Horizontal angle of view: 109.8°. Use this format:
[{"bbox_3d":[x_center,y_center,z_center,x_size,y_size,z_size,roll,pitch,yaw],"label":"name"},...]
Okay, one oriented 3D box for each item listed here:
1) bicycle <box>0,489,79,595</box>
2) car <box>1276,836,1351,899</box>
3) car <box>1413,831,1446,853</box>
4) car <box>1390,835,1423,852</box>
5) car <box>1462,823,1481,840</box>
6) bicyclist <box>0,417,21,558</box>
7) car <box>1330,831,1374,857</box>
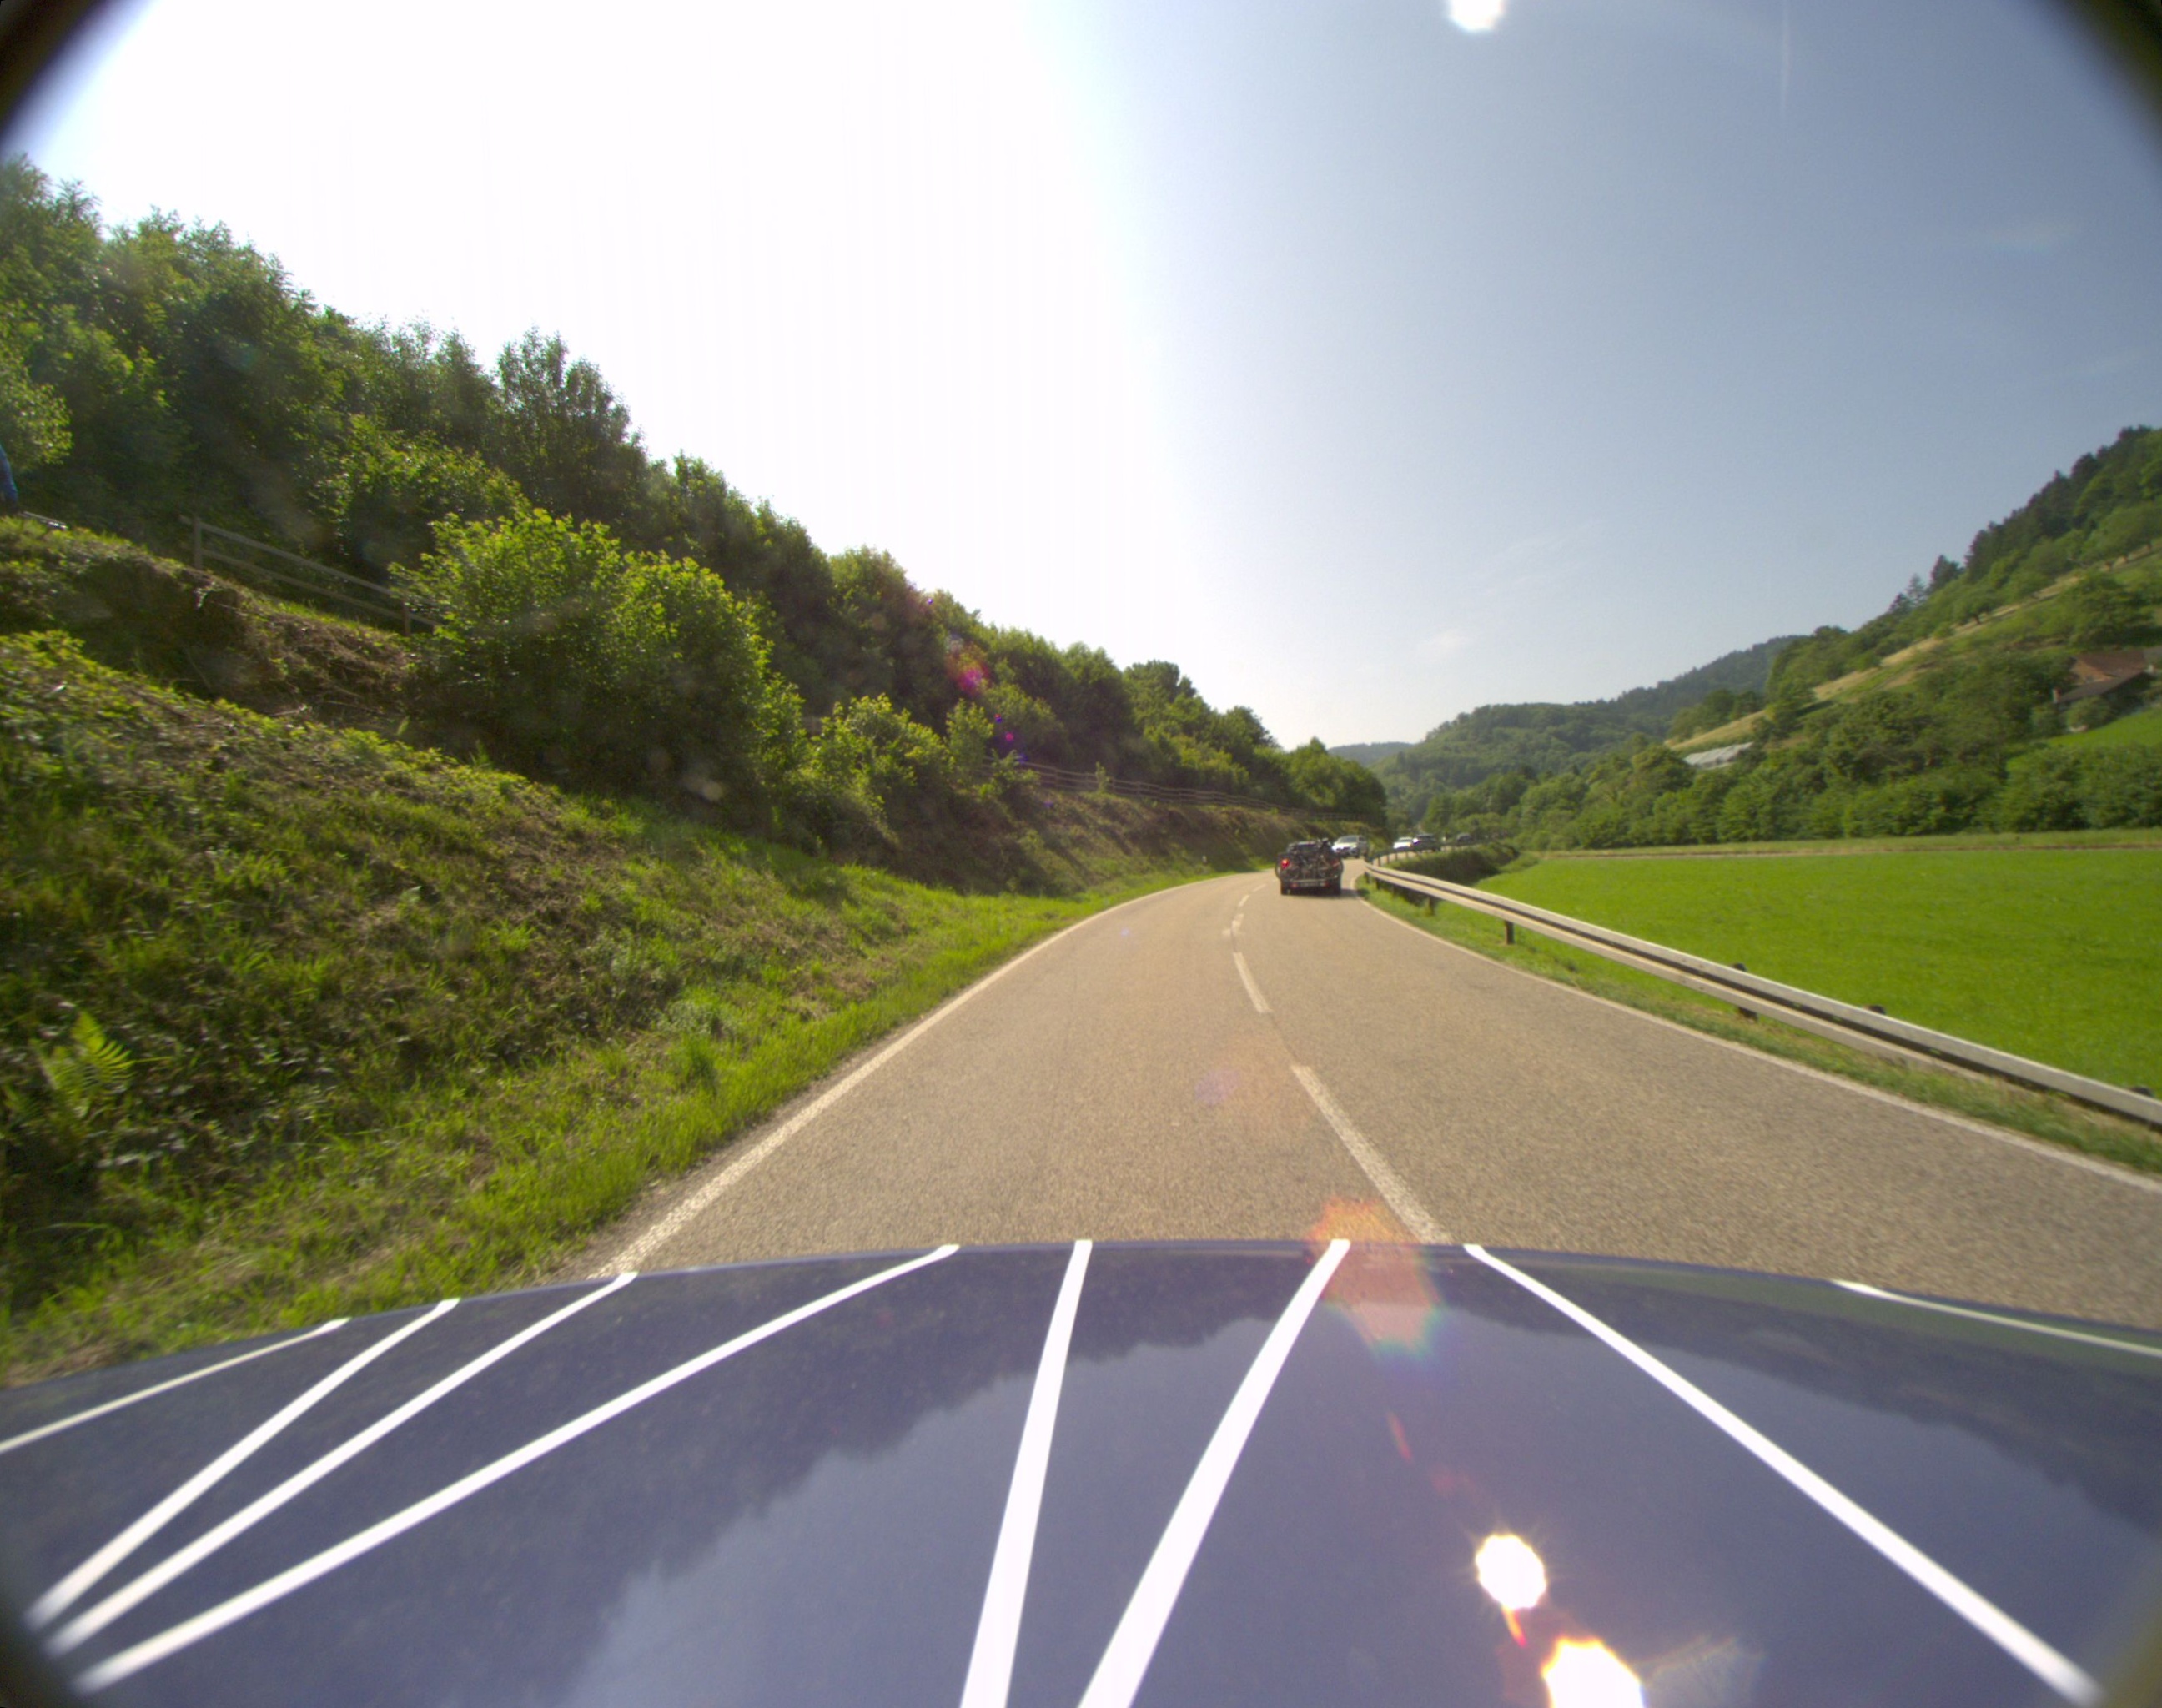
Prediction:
[{"bbox_3d":[-12.300,-3.574,8.242,0.624,0.909,1.597,-5,-1,5],"label":"bicycle"},{"bbox_3d":[7.048,0.356,23.322,1.952,1.730,4.902,0,0,15],"label":"car"},{"bbox_3d":[30.226,-1.065,65.922,1.709,1.665,4.007,-4,-1,37],"label":"car"},{"bbox_3d":[31.959,-1.036,74.596,2.142,1.482,4.681,-1,1,34],"label":"car"},{"bbox_3d":[50.238,-2.967,97.720,1.995,2.002,4.006,-2,2,28],"label":"car"},{"bbox_3d":[-12.327,-4.092,8.268,0.624,1.515,0.613,-5,0,4],"label":"bicyclist"},{"bbox_3d":[21.014,-0.753,58.794,2.114,1.803,4.464,-3,-1,33],"label":"car"}]
